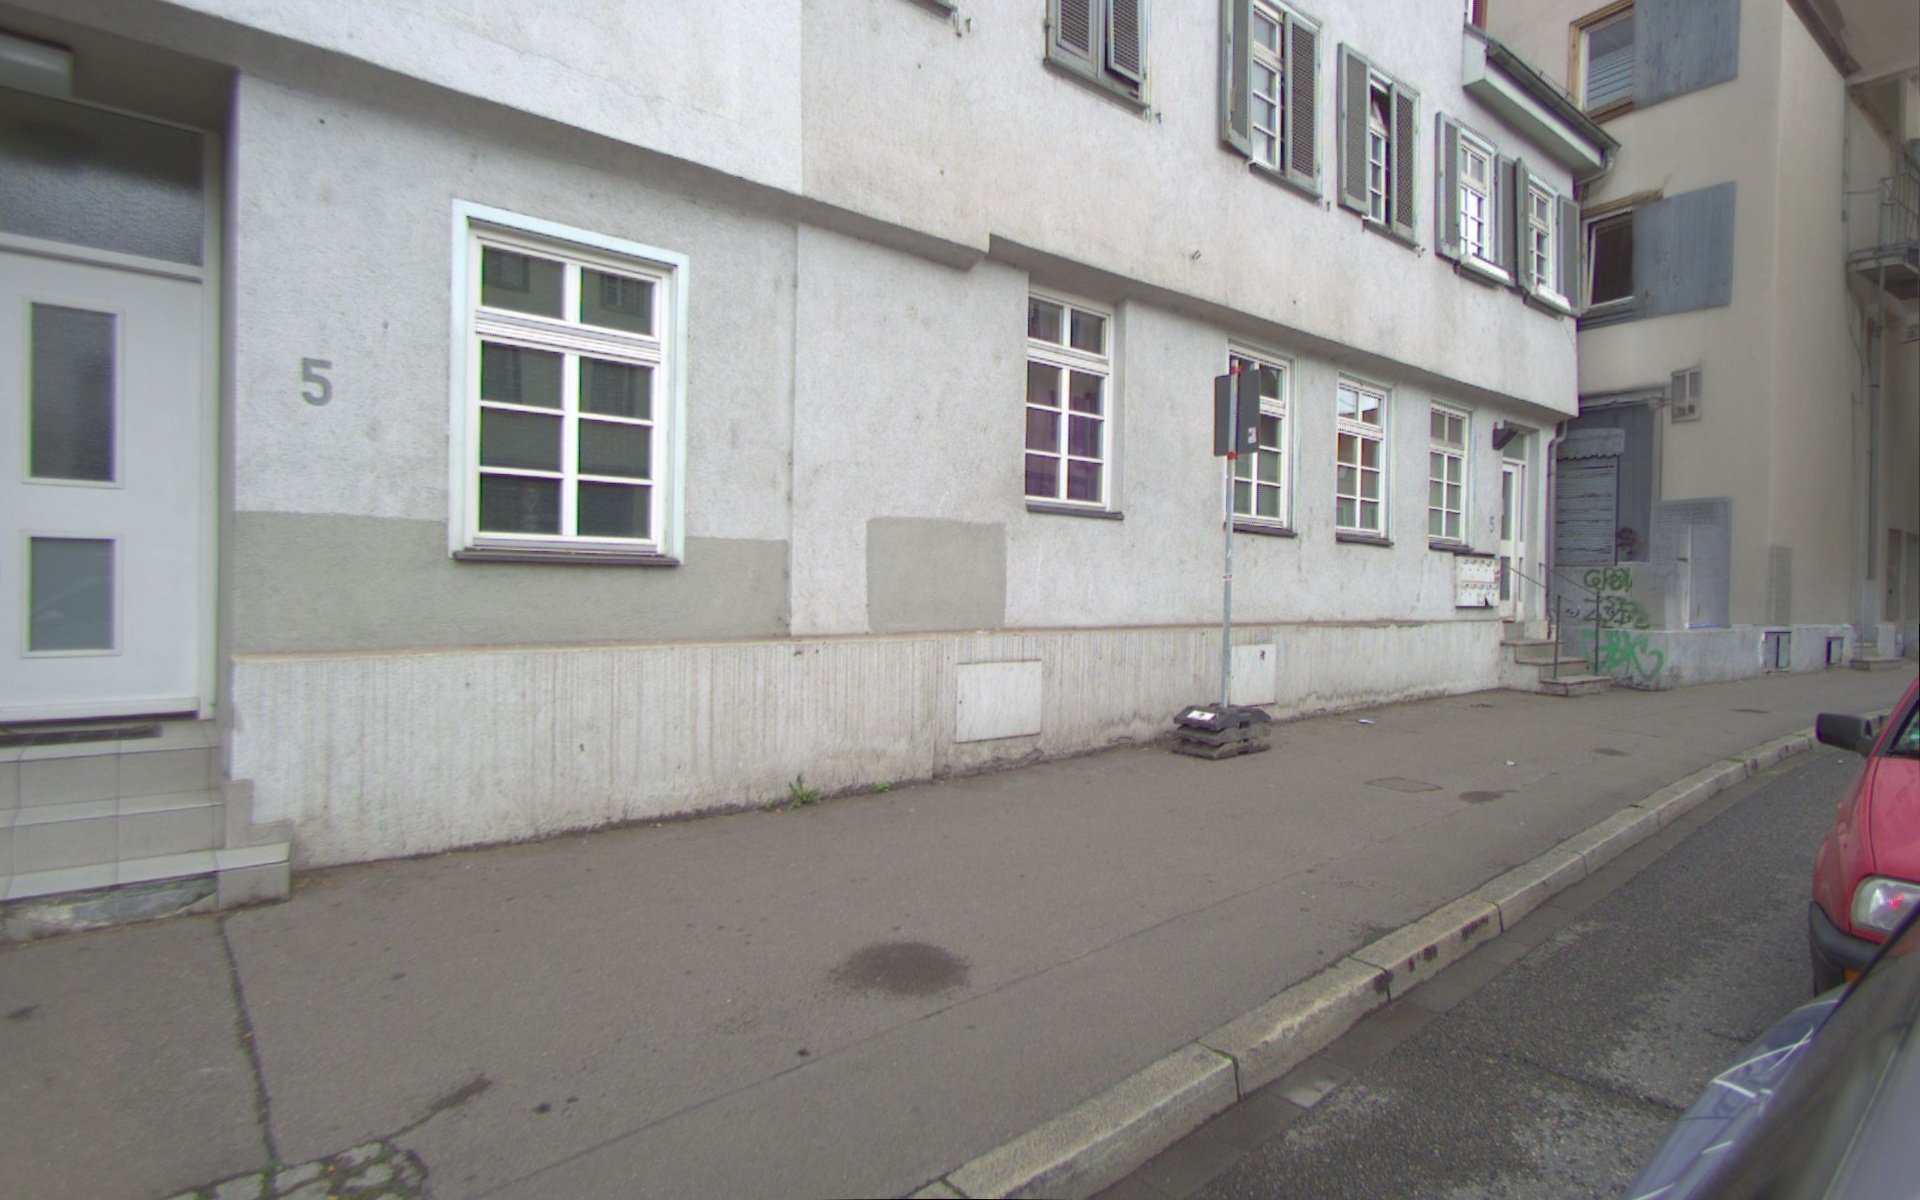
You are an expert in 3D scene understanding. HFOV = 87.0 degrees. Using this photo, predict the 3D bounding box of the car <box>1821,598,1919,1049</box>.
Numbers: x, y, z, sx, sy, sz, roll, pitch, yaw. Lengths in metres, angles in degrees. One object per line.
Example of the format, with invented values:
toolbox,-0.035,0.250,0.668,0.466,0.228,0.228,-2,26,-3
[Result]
car,5.082,0.732,4.119,3.930,1.485,1.802,0,-2,-41
